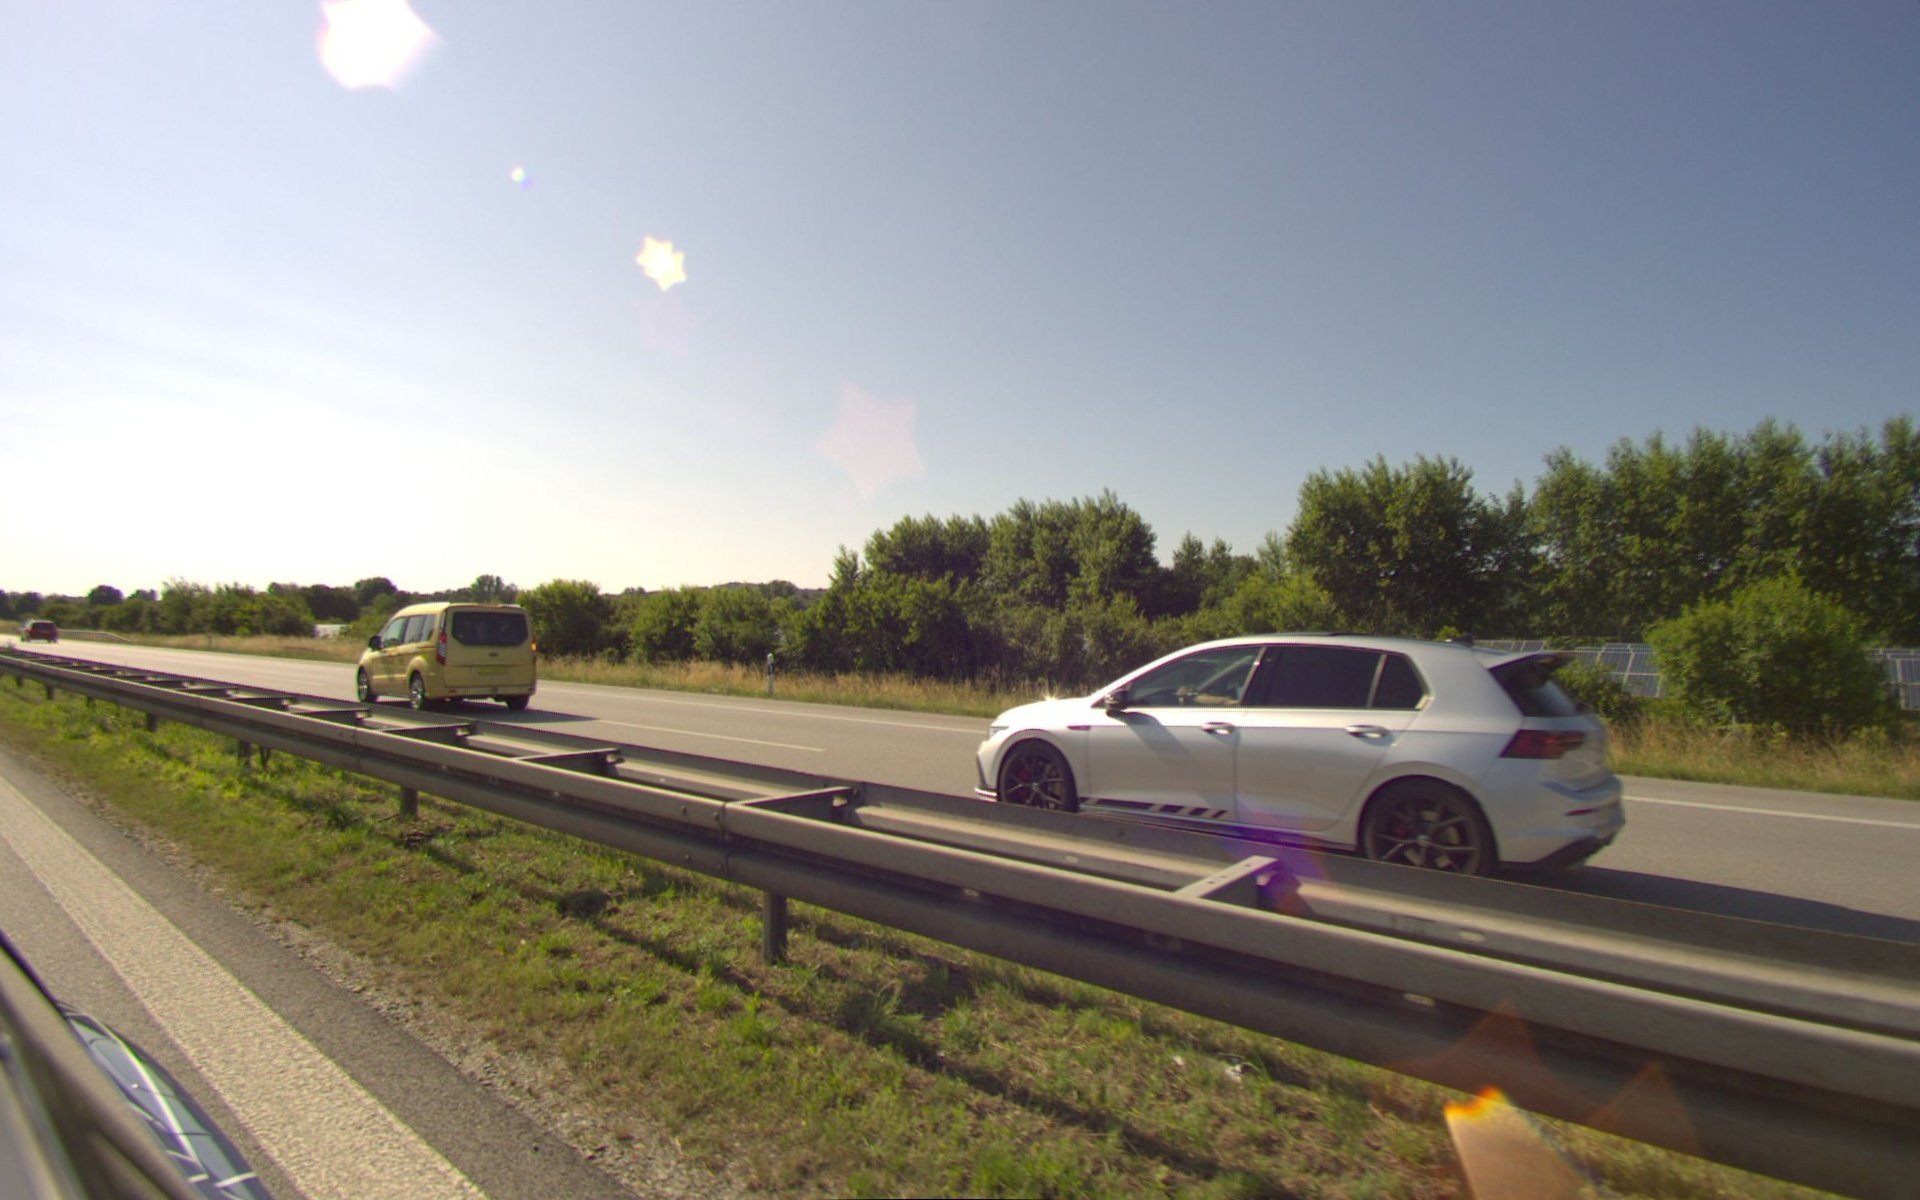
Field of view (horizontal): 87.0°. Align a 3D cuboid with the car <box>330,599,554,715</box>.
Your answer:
[{"bbox_3d":[-9.272,0.978,17.920,4.749,1.785,1.928,-1,-5,43],"label":"car"}]

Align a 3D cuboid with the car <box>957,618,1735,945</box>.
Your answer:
[{"bbox_3d":[2.224,0.899,6.691,4.470,1.431,1.747,-1,-5,43],"label":"car"}]

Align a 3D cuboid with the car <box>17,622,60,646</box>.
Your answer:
[{"bbox_3d":[-62.951,2.289,69.096,4.479,1.523,1.711,-1,-3,42],"label":"car"}]
